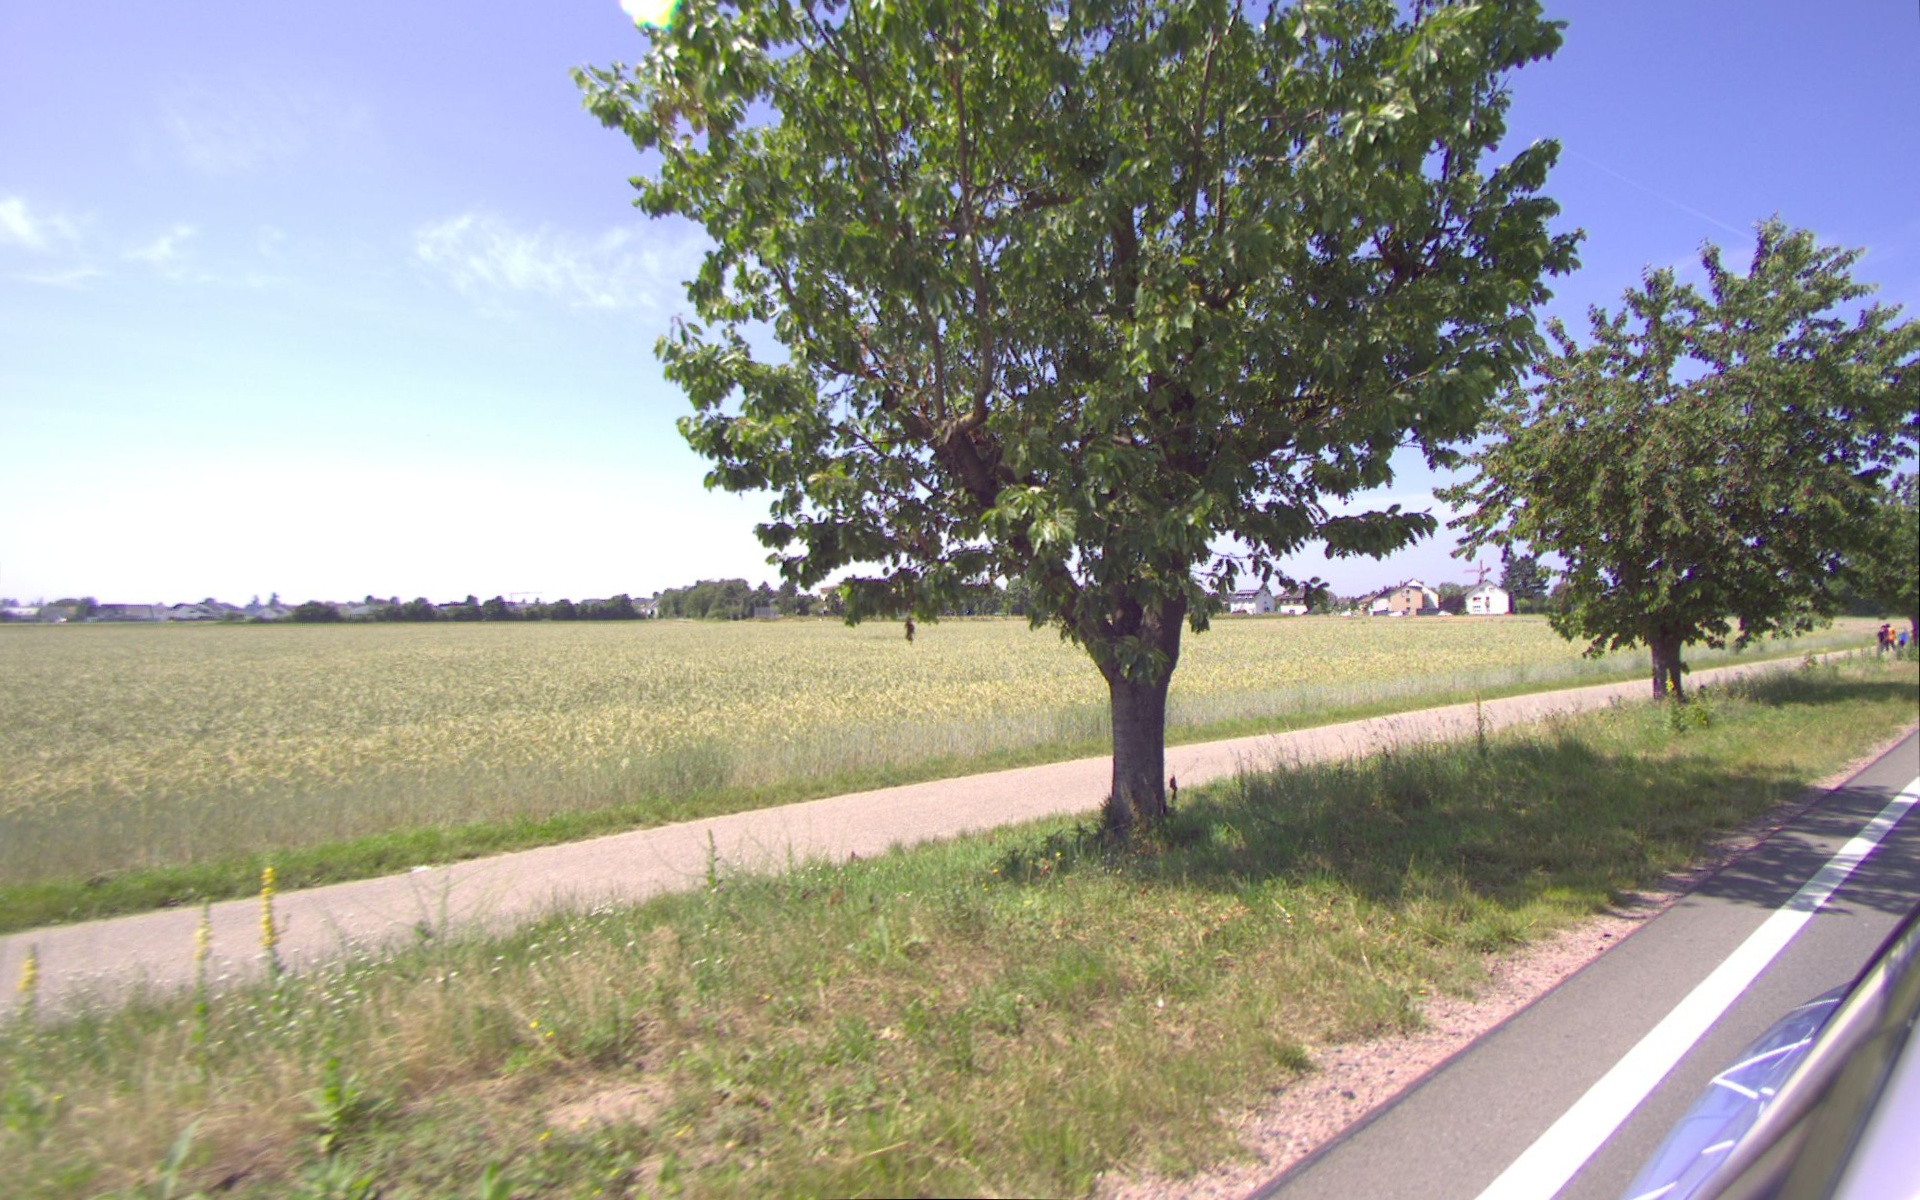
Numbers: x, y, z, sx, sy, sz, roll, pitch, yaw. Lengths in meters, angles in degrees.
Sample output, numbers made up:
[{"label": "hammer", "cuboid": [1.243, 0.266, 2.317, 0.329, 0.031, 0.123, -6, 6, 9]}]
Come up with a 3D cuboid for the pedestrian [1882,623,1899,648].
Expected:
[{"label": "pedestrian", "cuboid": [48.505, 1.859, 52.766, 0.434, 1.312, 0.486, 0, -1, 6]}]

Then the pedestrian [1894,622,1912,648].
[{"label": "pedestrian", "cuboid": [48.417, 1.801, 51.974, 0.434, 1.331, 0.487, 0, -1, 3]}]

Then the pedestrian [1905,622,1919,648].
[{"label": "pedestrian", "cuboid": [48.962, 1.809, 51.962, 0.433, 1.312, 0.488, 0, -1, -7]}]
